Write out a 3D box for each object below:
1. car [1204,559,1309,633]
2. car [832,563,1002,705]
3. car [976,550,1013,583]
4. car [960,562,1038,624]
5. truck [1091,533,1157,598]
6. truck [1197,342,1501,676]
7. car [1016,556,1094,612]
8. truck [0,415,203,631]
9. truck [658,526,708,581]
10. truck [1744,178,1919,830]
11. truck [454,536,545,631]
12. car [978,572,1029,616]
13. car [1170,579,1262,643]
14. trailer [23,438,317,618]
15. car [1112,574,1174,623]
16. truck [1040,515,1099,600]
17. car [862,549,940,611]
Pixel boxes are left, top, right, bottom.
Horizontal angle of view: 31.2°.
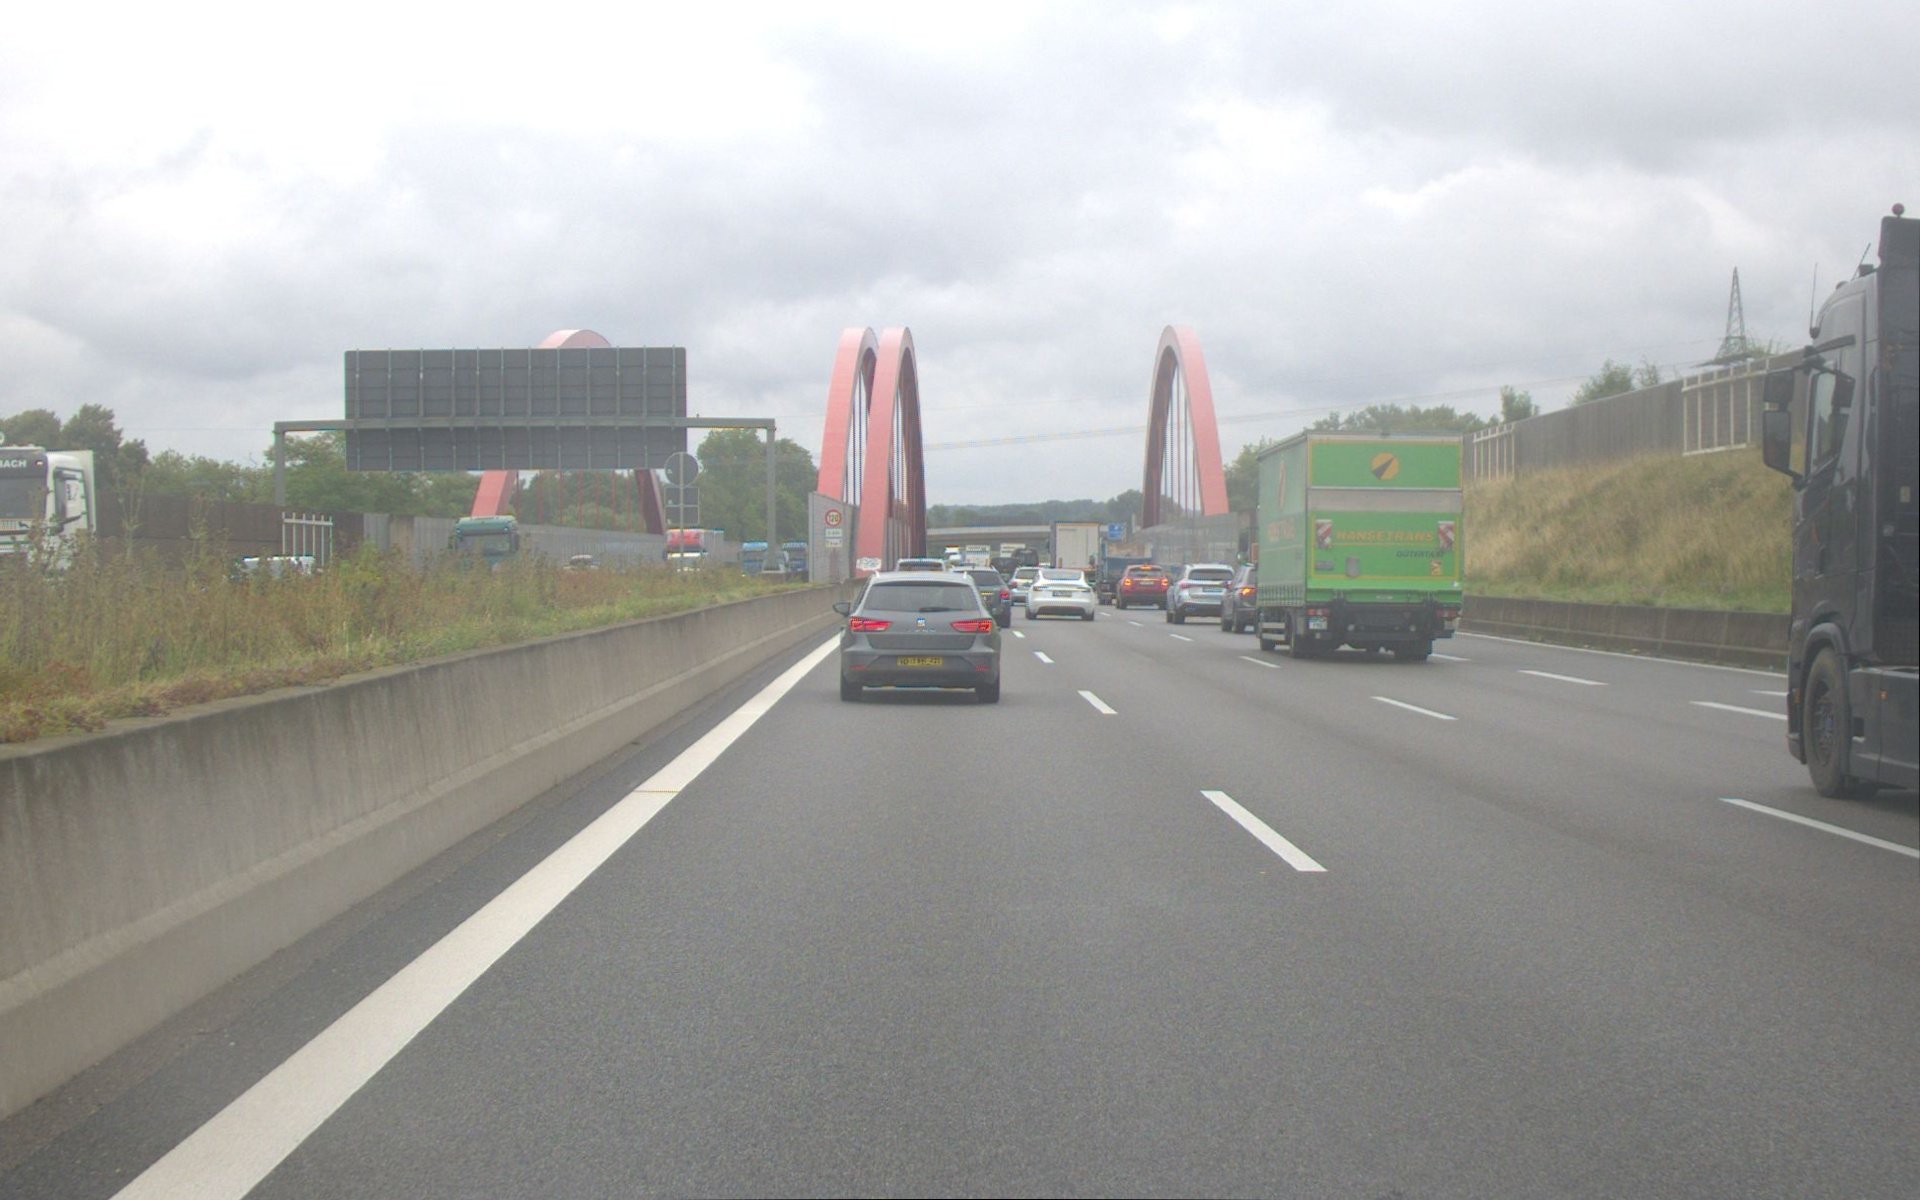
[{"bbox_3d":[6.973,-0.110,81.239,1.911,1.664,4.105,1,1,-3],"label":"car"},{"bbox_3d":[-0.439,0.336,38.103,1.764,1.448,4.000,1,1,0],"label":"car"},{"bbox_3d":[1.911,-1.884,192.382,1.993,1.809,4.000,1,1,0],"label":"car"},{"bbox_3d":[0.908,-0.177,82.385,1.782,1.401,3.626,1,1,0],"label":"car"},{"bbox_3d":[6.580,-1.401,138.879,2.361,2.498,6.144,1,1,0],"label":"truck"},{"bbox_3d":[6.621,-1.515,60.714,3.997,5.248,11.220,2,1,0],"label":"truck"},{"bbox_3d":[2.607,-0.456,95.647,1.993,1.481,4.000,1,1,-1],"label":"car"},{"bbox_3d":[-14.245,-1.178,53.570,2.956,3.056,8.728,2,1,0],"label":"truck"},{"bbox_3d":[-19.218,-3.248,238.458,2.984,3.740,5.917,1,1,0],"label":"truck"},{"bbox_3d":[7.249,-0.531,18.403,2.812,3.936,12.714,1,1,-1],"label":"truck"},{"bbox_3d":[-19.329,-0.715,144.679,2.862,3.825,7.523,2,1,-1],"label":"truck"},{"bbox_3d":[1.579,-0.225,125.745,1.702,1.538,3.839,1,1,-2],"label":"car"},{"bbox_3d":[6.953,0.284,93.883,1.993,1.613,5.328,2,1,-1],"label":"car"},{"bbox_3d":[-14.308,-1.270,63.220,2.956,2.949,10.569,2,1,0],"label":"trailer"},{"bbox_3d":[6.572,-0.070,123.847,1.957,1.641,4.000,2,1,-1],"label":"car"},{"bbox_3d":[6.281,-2.426,198.358,3.044,4.718,7.680,2,1,0],"label":"truck"},{"bbox_3d":[-1.547,-0.533,90.566,1.993,1.579,4.000,0,1,-1],"label":"car"}]
